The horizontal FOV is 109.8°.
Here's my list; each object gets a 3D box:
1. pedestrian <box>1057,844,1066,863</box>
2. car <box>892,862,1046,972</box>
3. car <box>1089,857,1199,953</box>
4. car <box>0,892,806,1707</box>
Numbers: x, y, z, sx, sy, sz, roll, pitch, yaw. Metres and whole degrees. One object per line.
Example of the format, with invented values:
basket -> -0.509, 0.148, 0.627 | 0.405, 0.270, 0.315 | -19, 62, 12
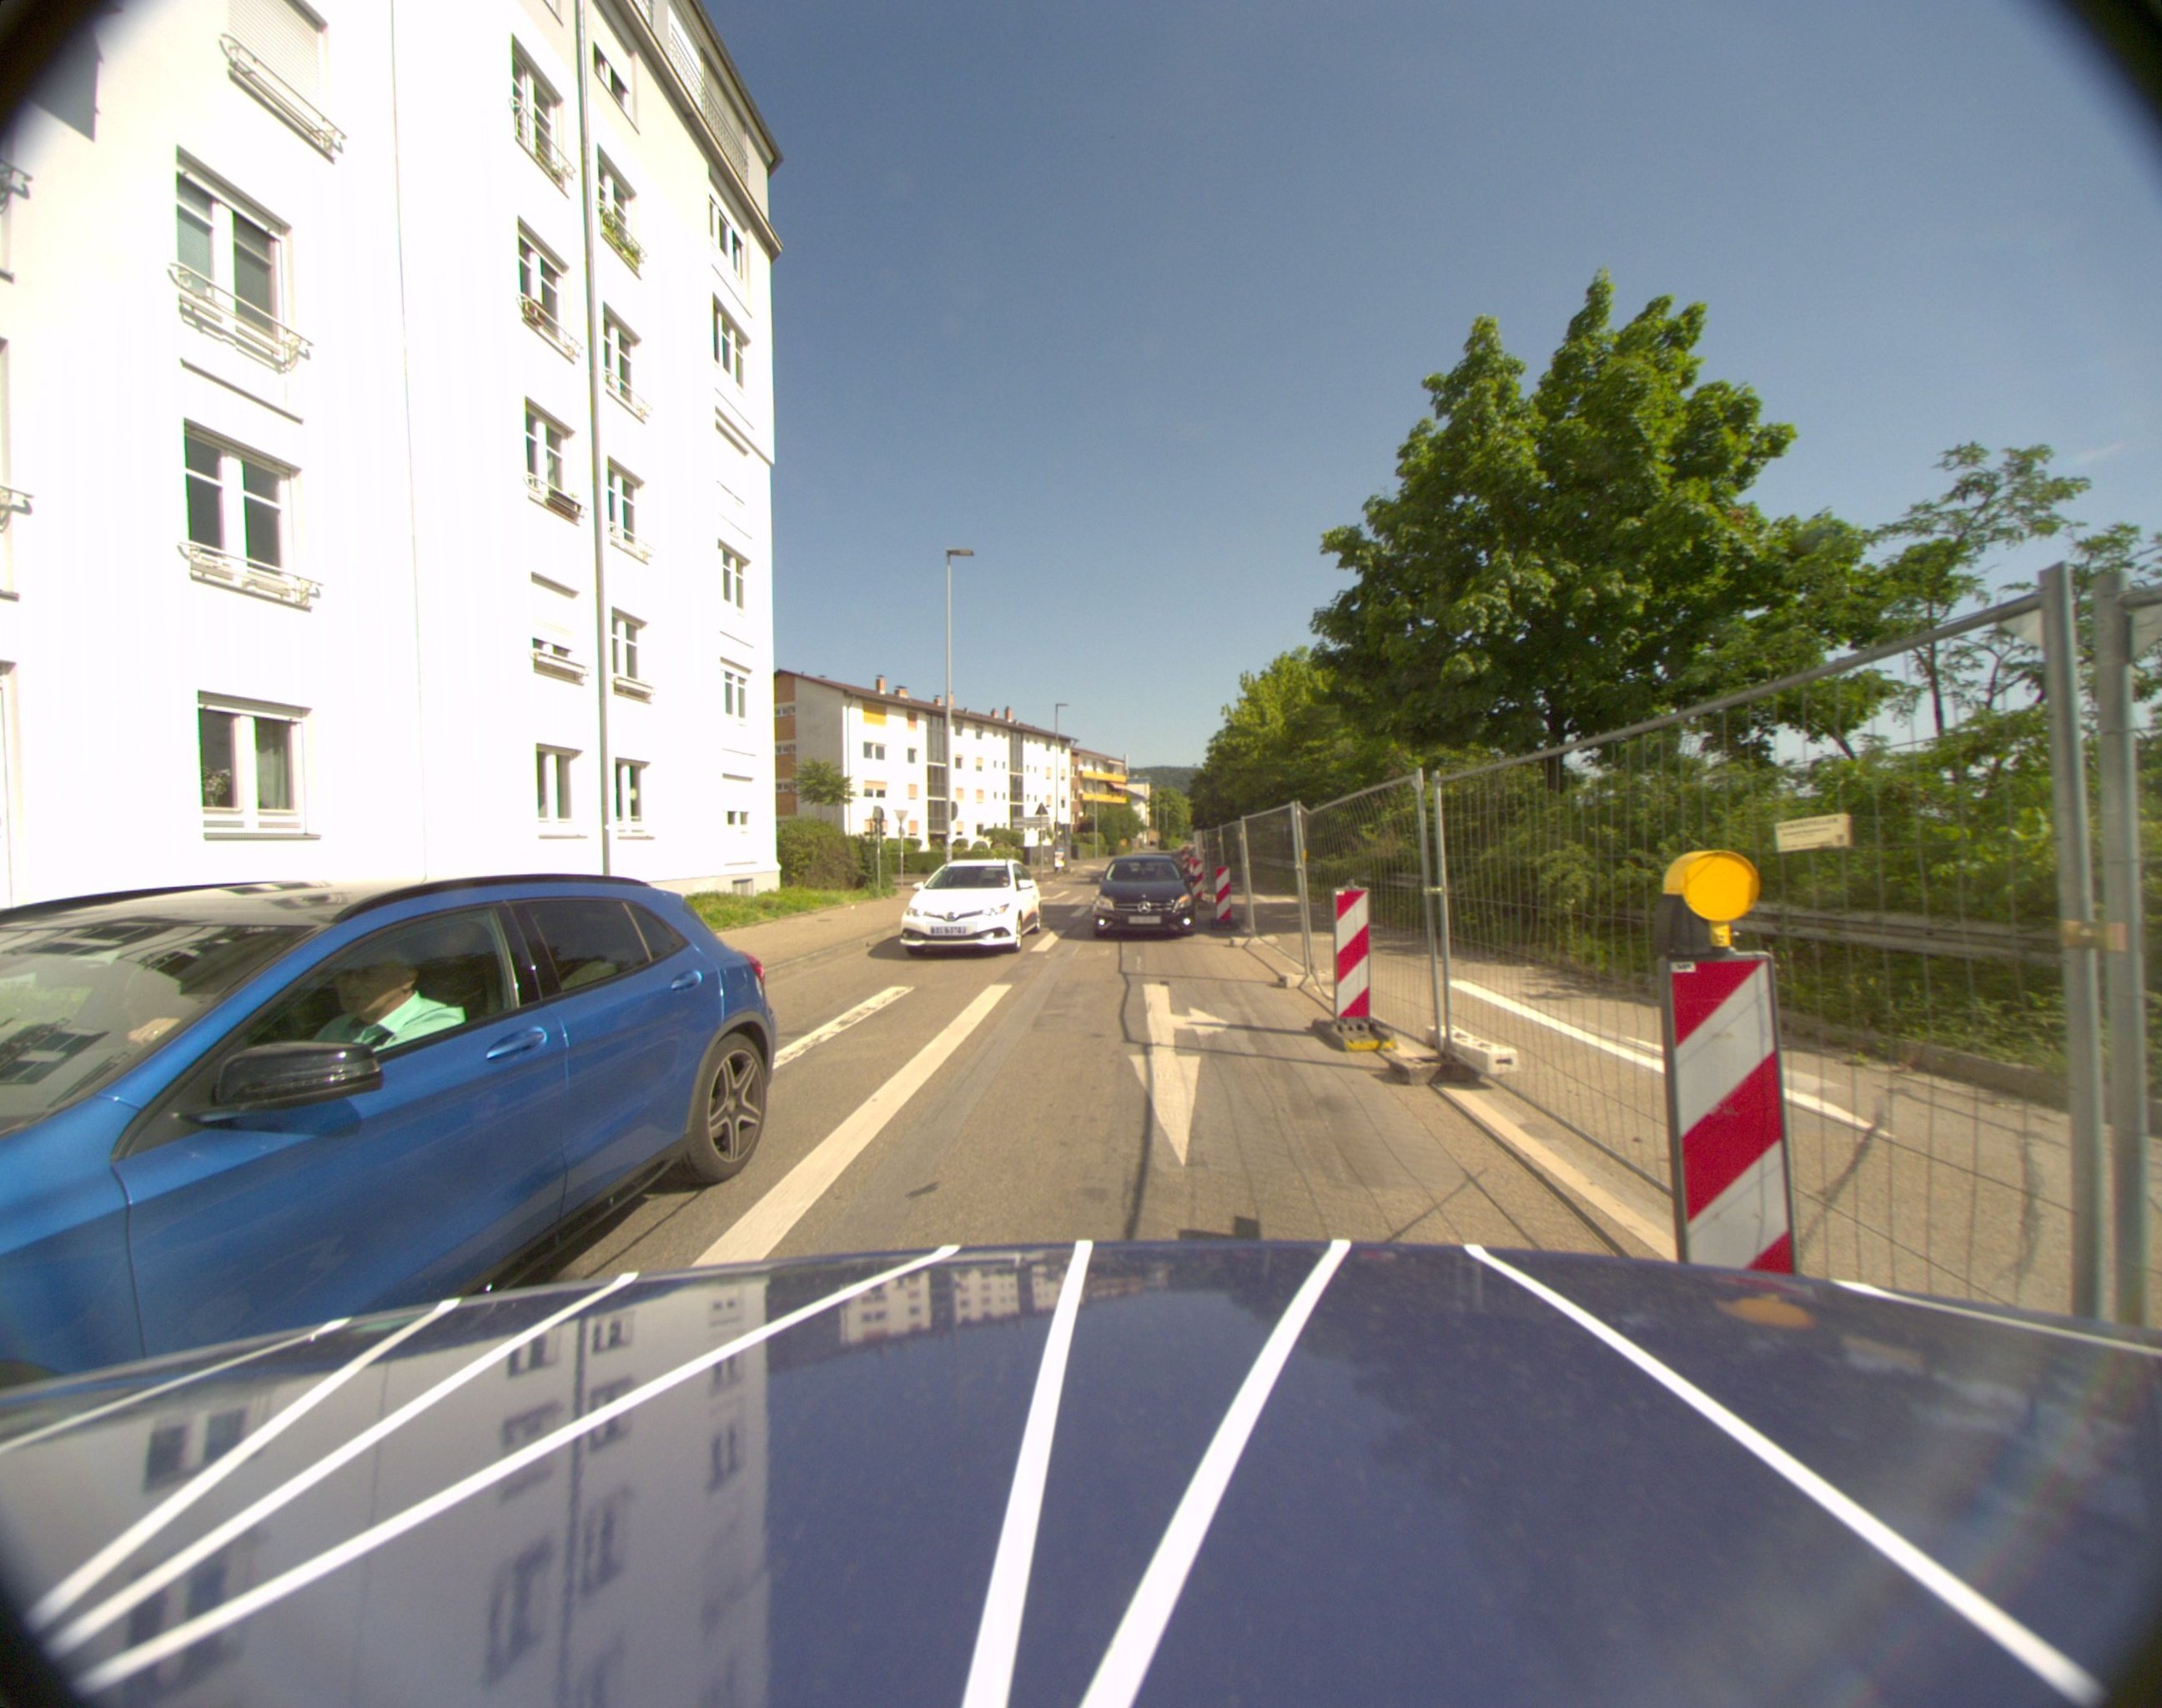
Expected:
pedestrian -> -1.630, -0.072, 62.679 | 0.607, 1.501, 0.771 | -1, 2, 7
car -> -1.699, 0.919, 13.024 | 1.700, 1.404, 4.486 | -2, 1, 3
car -> 1.119, 0.822, 14.294 | 1.702, 1.400, 4.623 | -1, 1, 3
car -> -2.569, 0.999, 2.171 | 1.675, 1.472, 4.551 | -2, 0, 3
